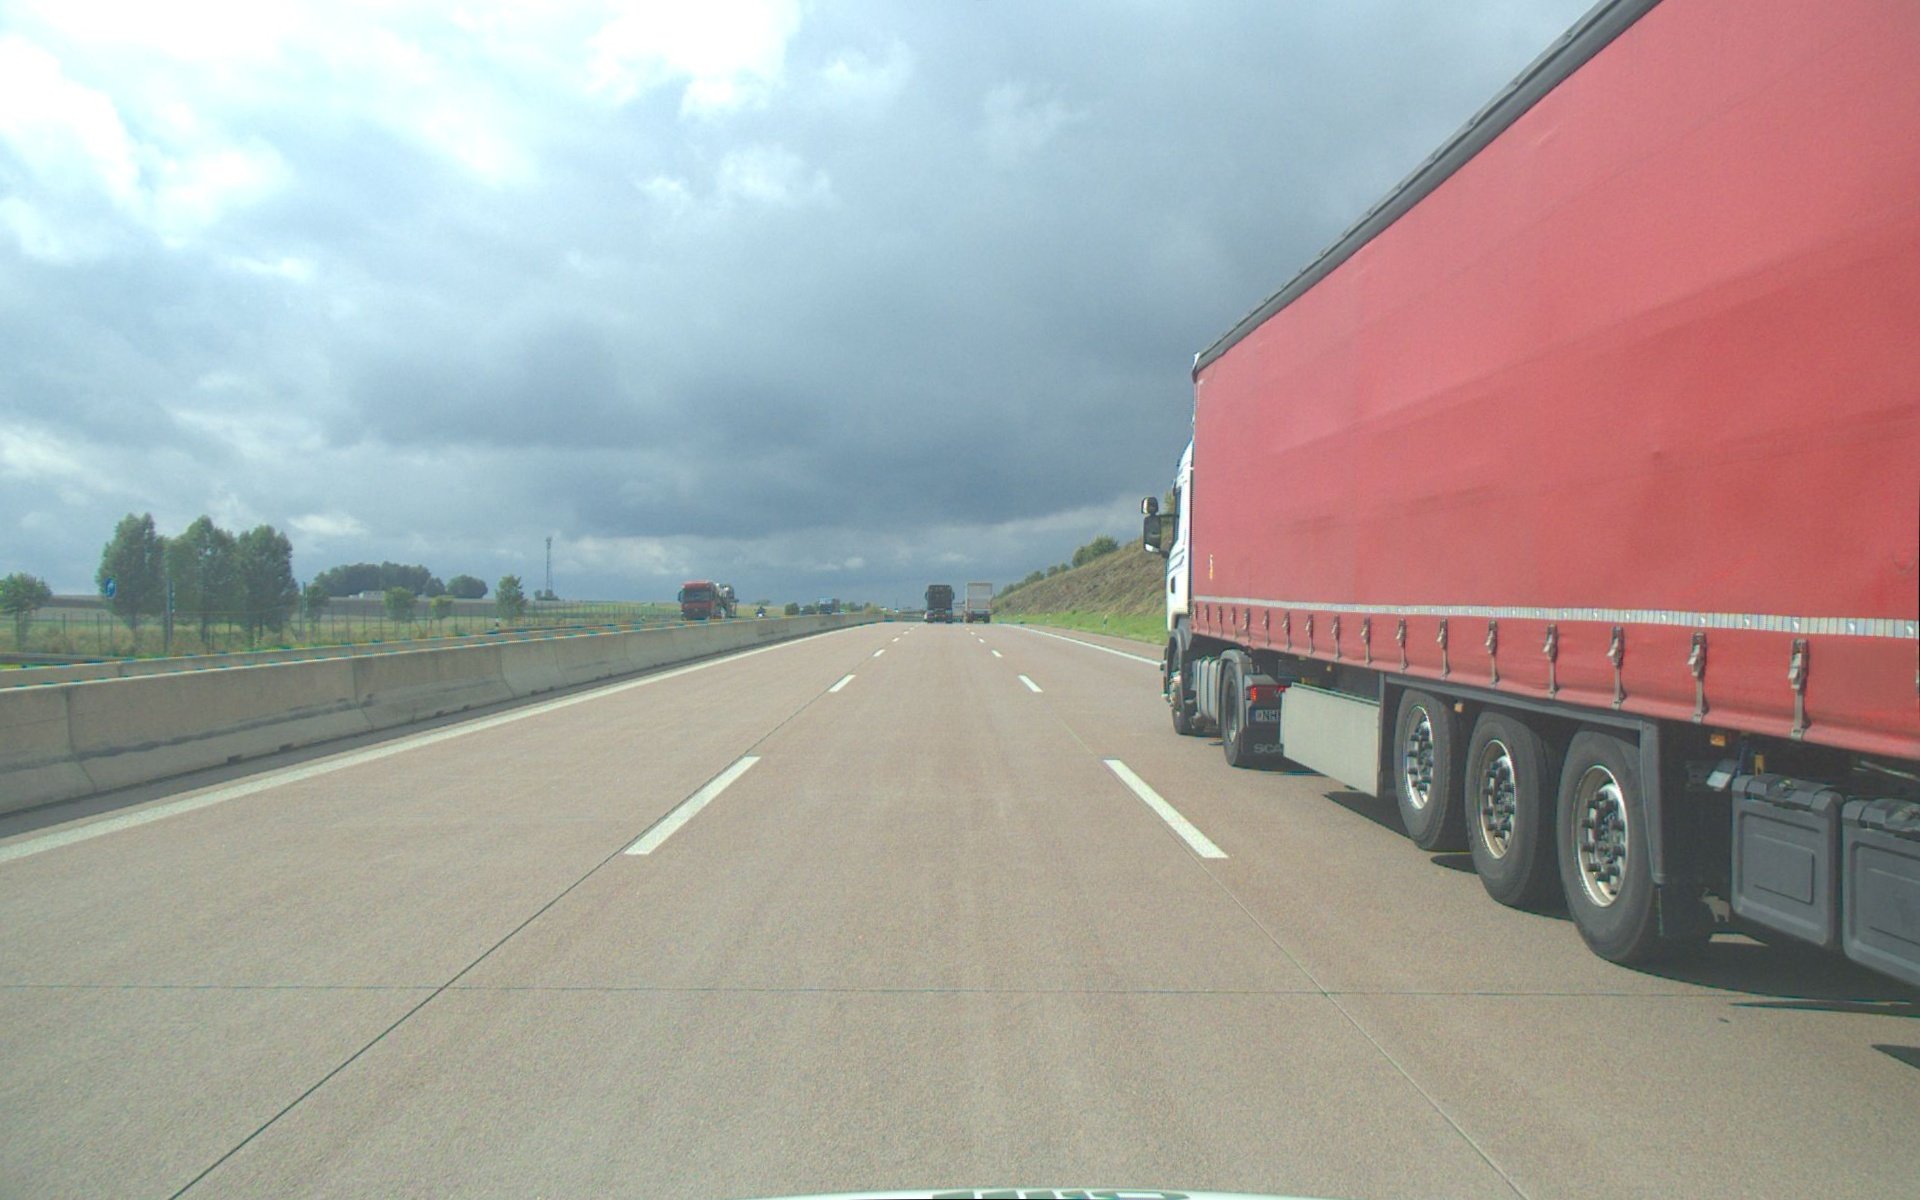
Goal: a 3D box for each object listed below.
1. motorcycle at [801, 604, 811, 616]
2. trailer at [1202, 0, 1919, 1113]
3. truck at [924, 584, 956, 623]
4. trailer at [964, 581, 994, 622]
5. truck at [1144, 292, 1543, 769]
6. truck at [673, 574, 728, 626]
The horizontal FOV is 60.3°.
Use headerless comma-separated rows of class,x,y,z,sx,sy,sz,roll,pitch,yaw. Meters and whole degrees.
motorcycle,-16.962,1.140,182.337,0.907,1.326,2.342,1,0,0
trailer,3.920,-0.590,10.471,2.618,4.165,12.785,0,0,-1
truck,-1.976,0.410,159.145,2.790,3.612,8.315,0,-1,-2
trailer,1.910,0.249,170.384,2.692,4.082,8.665,0,-1,-2
truck,3.743,-0.595,17.834,2.620,4.178,6.614,0,0,-1
truck,-20.843,0.024,133.474,3.128,4.048,7.729,1,0,0
